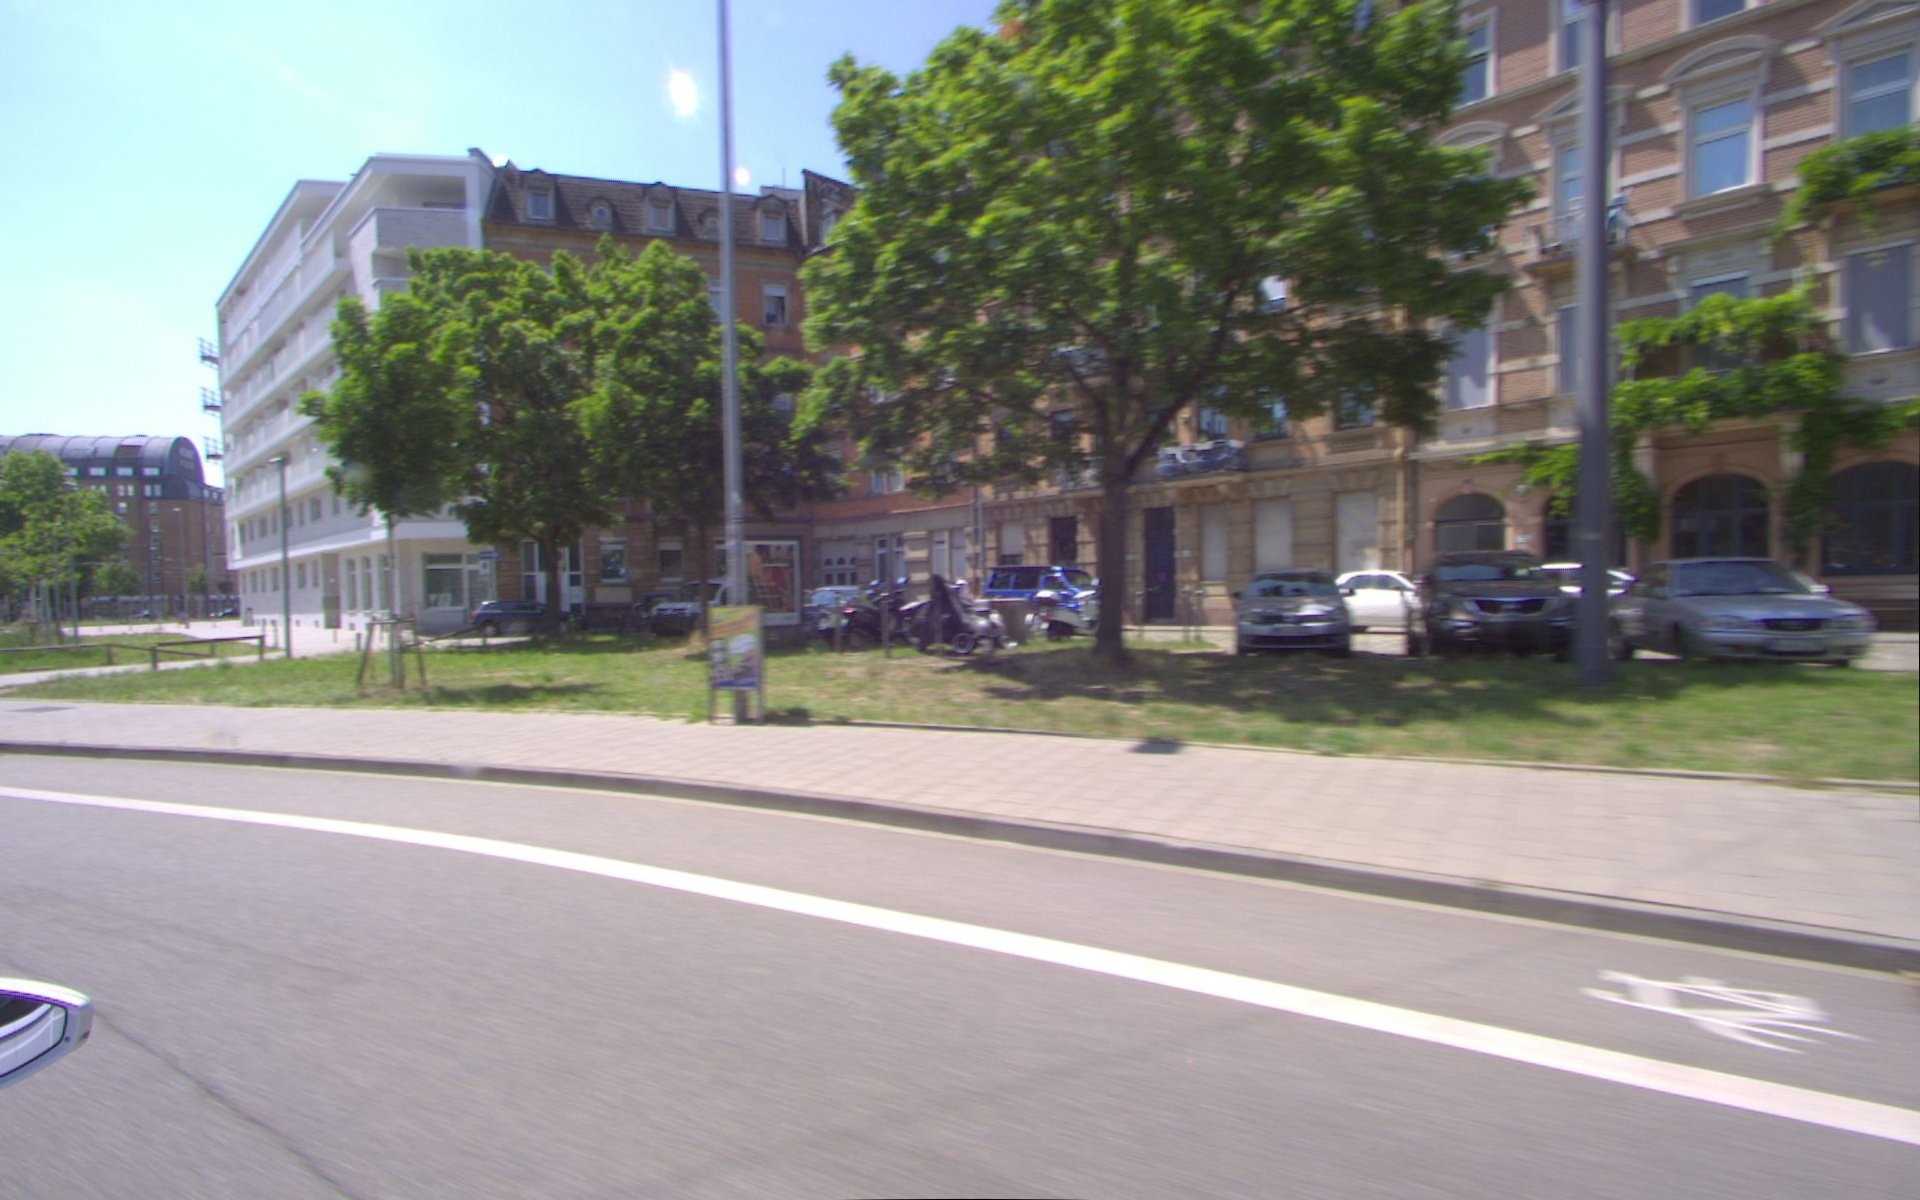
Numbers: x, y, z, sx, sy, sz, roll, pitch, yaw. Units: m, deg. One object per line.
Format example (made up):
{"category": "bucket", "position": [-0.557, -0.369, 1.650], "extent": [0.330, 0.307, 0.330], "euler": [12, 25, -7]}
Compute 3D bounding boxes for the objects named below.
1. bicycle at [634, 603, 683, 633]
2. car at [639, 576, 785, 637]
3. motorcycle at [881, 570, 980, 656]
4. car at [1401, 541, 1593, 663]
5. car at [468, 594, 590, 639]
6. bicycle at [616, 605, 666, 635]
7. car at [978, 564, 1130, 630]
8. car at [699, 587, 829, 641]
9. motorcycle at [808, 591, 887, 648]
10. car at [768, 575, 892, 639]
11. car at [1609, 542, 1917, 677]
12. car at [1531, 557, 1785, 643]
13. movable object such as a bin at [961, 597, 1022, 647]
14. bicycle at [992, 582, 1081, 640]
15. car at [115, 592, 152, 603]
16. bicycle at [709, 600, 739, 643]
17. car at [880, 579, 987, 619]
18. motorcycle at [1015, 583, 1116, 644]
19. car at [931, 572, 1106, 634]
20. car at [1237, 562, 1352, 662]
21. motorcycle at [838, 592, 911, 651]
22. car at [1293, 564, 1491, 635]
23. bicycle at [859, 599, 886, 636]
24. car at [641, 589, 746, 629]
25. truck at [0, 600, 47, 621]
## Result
{"category": "bicycle", "position": [-9.743, 0.583, 32.466], "extent": [0.499, 0.948, 2.048], "euler": [0, 0, 15]}
{"category": "car", "position": [-7.106, 0.200, 29.260], "extent": [1.804, 1.622, 4.865], "euler": [0, 0, 19]}
{"category": "motorcycle", "position": [-0.538, 0.218, 17.643], "extent": [0.670, 1.432, 1.839], "euler": [-3, 2, -42]}
{"category": "car", "position": [7.522, 0.040, 14.434], "extent": [1.766, 1.489, 4.085], "euler": [0, 0, 18]}
{"category": "car", "position": [-16.293, 0.592, 38.044], "extent": [4.055, 1.646, 1.693], "euler": [0, 0, -15]}
{"category": "bicycle", "position": [-10.333, 0.634, 32.487], "extent": [0.499, 0.948, 2.048], "euler": [0, 0, 15]}
{"category": "car", "position": [2.853, -0.064, 31.210], "extent": [1.907, 1.929, 4.609], "euler": [0, 0, -43]}
{"category": "car", "position": [-5.216, 0.378, 27.206], "extent": [1.728, 1.349, 3.993], "euler": [0, 0, 19]}
{"category": "motorcycle", "position": [-2.322, 0.398, 20.883], "extent": [0.522, 1.135, 1.814], "euler": [0, 0, 39]}
{"category": "car", "position": [-3.115, 0.169, 24.758], "extent": [1.578, 1.451, 3.863], "euler": [0, 0, 17]}
{"category": "car", "position": [9.366, 0.112, 12.111], "extent": [1.940, 1.331, 3.988], "euler": [0, 0, 24]}
{"category": "car", "position": [13.906, 0.026, 20.088], "extent": [3.958, 1.550, 1.825], "euler": [-1, 0, 44]}
{"category": "movable object such as a bin", "position": [0.621, 0.415, 19.587], "extent": [0.976, 0.949, 0.697], "euler": [0, 0, -33]}
{"category": "bicycle", "position": [1.738, 0.240, 22.587], "extent": [2.058, 1.252, 0.627], "euler": [0, 0, -34]}
{"category": "car", "position": [-125.911, -0.367, 152.569], "extent": [3.927, 1.751, 1.864], "euler": [0, 0, -14]}
{"category": "bicycle", "position": [-5.478, 0.483, 23.205], "extent": [0.469, 0.960, 1.366], "euler": [0, 0, -23]}
{"category": "car", "position": [-1.035, -0.016, 37.193], "extent": [1.760, 1.439, 3.959], "euler": [0, 0, -45]}
{"category": "motorcycle", "position": [2.272, 0.279, 21.452], "extent": [2.054, 1.252, 0.808], "euler": [-1, 0, -29]}
{"category": "car", "position": [1.453, 0.077, 24.330], "extent": [3.950, 1.394, 1.943], "euler": [0, 0, -36]}
{"category": "car", "position": [5.471, 0.188, 16.259], "extent": [1.555, 1.394, 4.339], "euler": [0, 0, 20]}
{"category": "motorcycle", "position": [-1.709, 0.417, 20.140], "extent": [1.510, 1.135, 0.473], "euler": [0, 0, -45]}
{"category": "car", "position": [10.211, 0.004, 23.885], "extent": [1.823, 1.550, 3.963], "euler": [0, 0, -42]}
{"category": "bicycle", "position": [-2.027, 0.401, 23.030], "extent": [0.489, 0.816, 1.455], "euler": [0, 0, -10]}
{"category": "car", "position": [-10.733, 0.358, 40.435], "extent": [4.008, 1.550, 1.775], "euler": [0, 0, -15]}
{"category": "truck", "position": [-128.867, 1.416, 134.680], "extent": [9.069, 2.846, 1.998], "euler": [0, 0, -12]}
